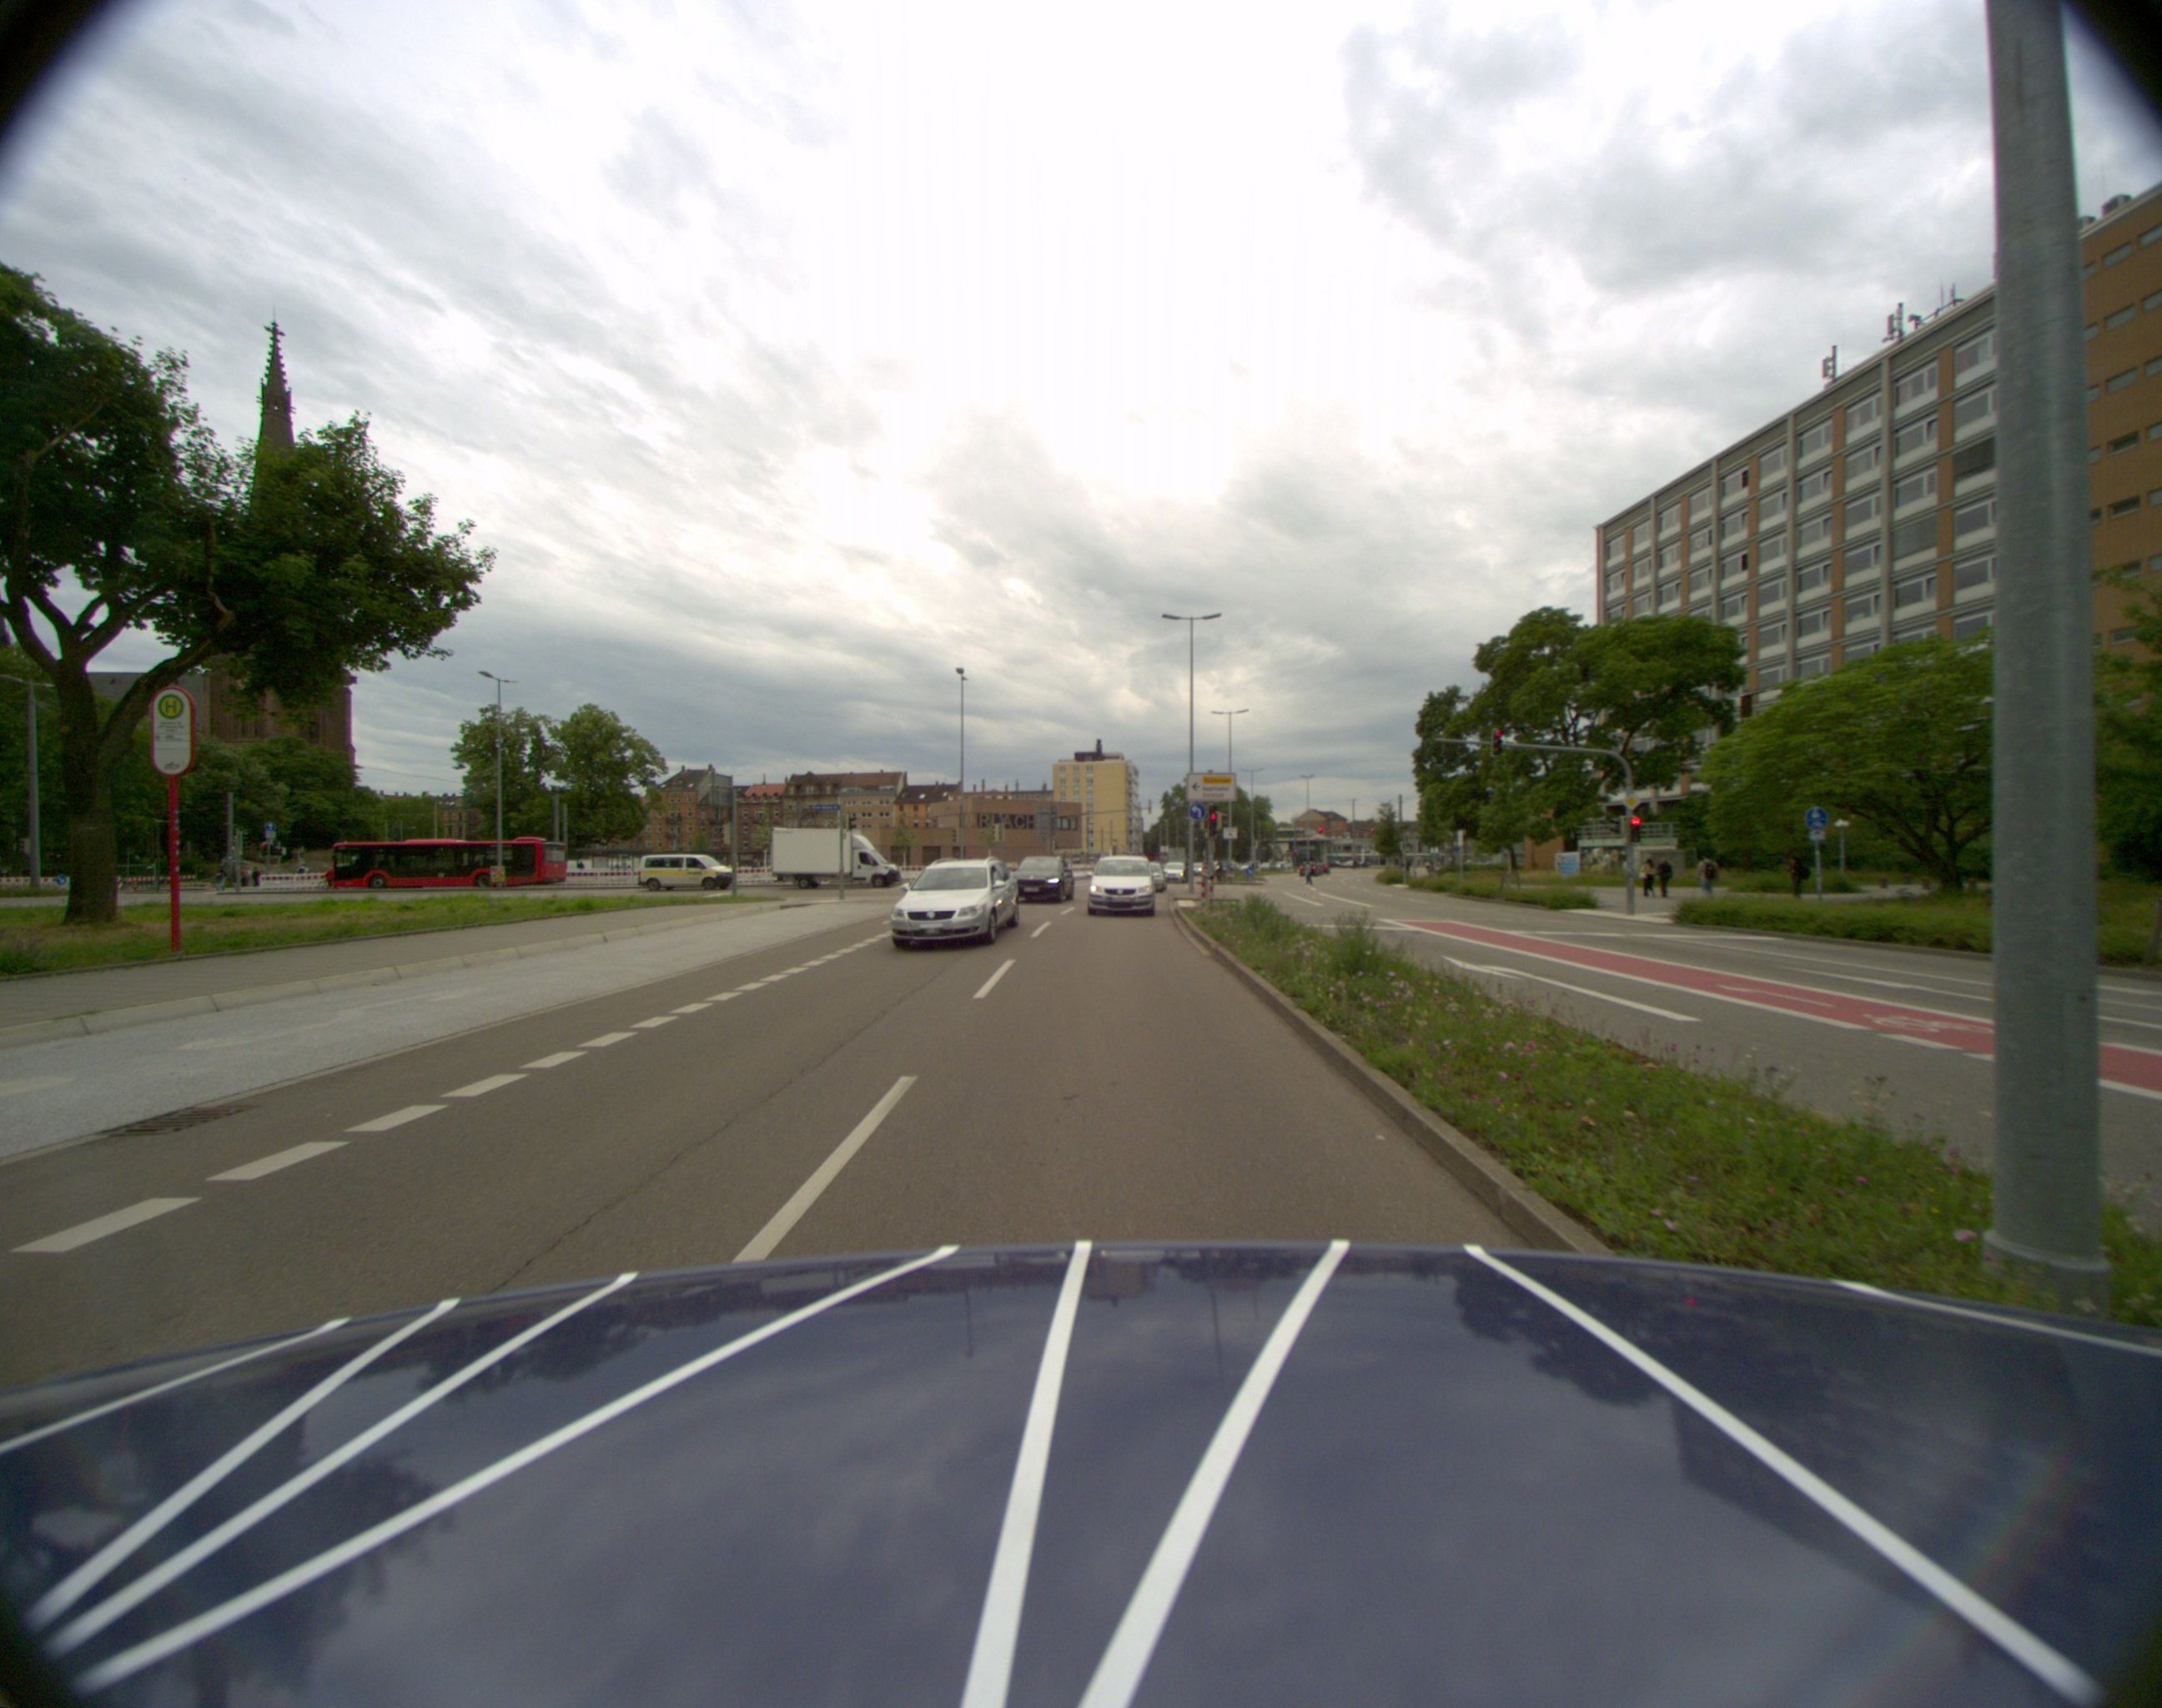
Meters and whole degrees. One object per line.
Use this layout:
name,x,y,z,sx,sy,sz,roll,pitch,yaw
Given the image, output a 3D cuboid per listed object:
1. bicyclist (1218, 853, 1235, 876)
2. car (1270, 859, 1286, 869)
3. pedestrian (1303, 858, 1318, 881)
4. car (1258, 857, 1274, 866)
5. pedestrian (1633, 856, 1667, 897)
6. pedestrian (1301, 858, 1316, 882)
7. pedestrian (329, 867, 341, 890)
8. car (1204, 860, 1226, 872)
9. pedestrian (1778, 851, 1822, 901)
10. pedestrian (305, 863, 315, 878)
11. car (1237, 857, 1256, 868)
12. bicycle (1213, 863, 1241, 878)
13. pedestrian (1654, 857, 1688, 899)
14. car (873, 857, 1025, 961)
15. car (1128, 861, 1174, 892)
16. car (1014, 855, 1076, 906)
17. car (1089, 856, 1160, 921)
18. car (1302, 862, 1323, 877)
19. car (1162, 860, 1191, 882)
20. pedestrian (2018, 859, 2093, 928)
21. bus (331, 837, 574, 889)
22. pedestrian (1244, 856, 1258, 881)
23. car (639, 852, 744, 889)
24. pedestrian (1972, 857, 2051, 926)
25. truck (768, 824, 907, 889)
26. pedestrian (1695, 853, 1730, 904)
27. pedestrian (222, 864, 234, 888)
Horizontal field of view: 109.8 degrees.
bicyclist,11.277,0.837,58.934,1.191,1.725,0.807,1,0,3
car,35.185,1.767,135.461,1.606,1.586,3.767,1,-1,33
pedestrian,16.596,1.112,54.997,0.777,1.657,0.706,1,0,-7
car,31.397,1.278,129.068,1.801,1.586,3.767,1,-1,26
pedestrian,23.502,0.915,31.379,0.708,1.661,0.943,-1,0,5
pedestrian,17.267,1.174,57.578,0.769,1.794,0.739,1,0,-21
pedestrian,-47.151,1.527,48.048,0.372,1.458,0.373,1,0,1
car,18.084,1.635,102.522,1.816,1.466,4.041,1,-1,27
pedestrian,23.704,0.720,25.057,0.635,1.603,0.829,-1,0,-20
pedestrian,-62.056,1.339,61.138,0.373,1.189,0.372,1,0,1
car,26.189,1.353,120.010,1.834,1.753,3.919,1,-1,29
bicycle,11.320,1.277,58.923,2.004,1.136,0.807,1,0,3
pedestrian,24.273,0.987,31.275,0.708,1.661,0.890,-2,0,5
car,-2.326,0.914,14.678,1.829,1.542,4.527,-2,1,4
car,3.599,1.106,38.248,1.725,1.405,4.250,-2,-1,13
car,-1.206,0.867,27.193,1.912,1.615,4.491,-2,0,0
car,1.103,0.882,21.053,1.733,1.593,4.105,-1,0,0
car,26.226,1.742,86.151,1.812,1.657,3.956,1,1,24
car,6.862,1.160,54.333,1.784,1.454,3.874,-1,0,11
pedestrian,21.464,0.848,16.752,0.637,1.471,0.762,1,0,5
bus,-38.114,0.541,46.419,12.090,2.890,2.937,-1,0,-2
pedestrian,12.414,1.063,55.356,0.917,1.794,0.541,1,0,17
car,-21.321,0.889,41.770,4.711,1.909,1.920,0,2,-1
pedestrian,20.468,0.814,16.731,0.730,1.471,0.813,1,0,5
truck,-13.374,0.101,42.207,6.851,3.392,2.559,-1,2,-4
pedestrian,22.838,0.884,27.475,0.638,1.790,0.762,0,0,5
pedestrian,-59.198,1.521,52.753,0.373,1.695,0.372,1,0,1
